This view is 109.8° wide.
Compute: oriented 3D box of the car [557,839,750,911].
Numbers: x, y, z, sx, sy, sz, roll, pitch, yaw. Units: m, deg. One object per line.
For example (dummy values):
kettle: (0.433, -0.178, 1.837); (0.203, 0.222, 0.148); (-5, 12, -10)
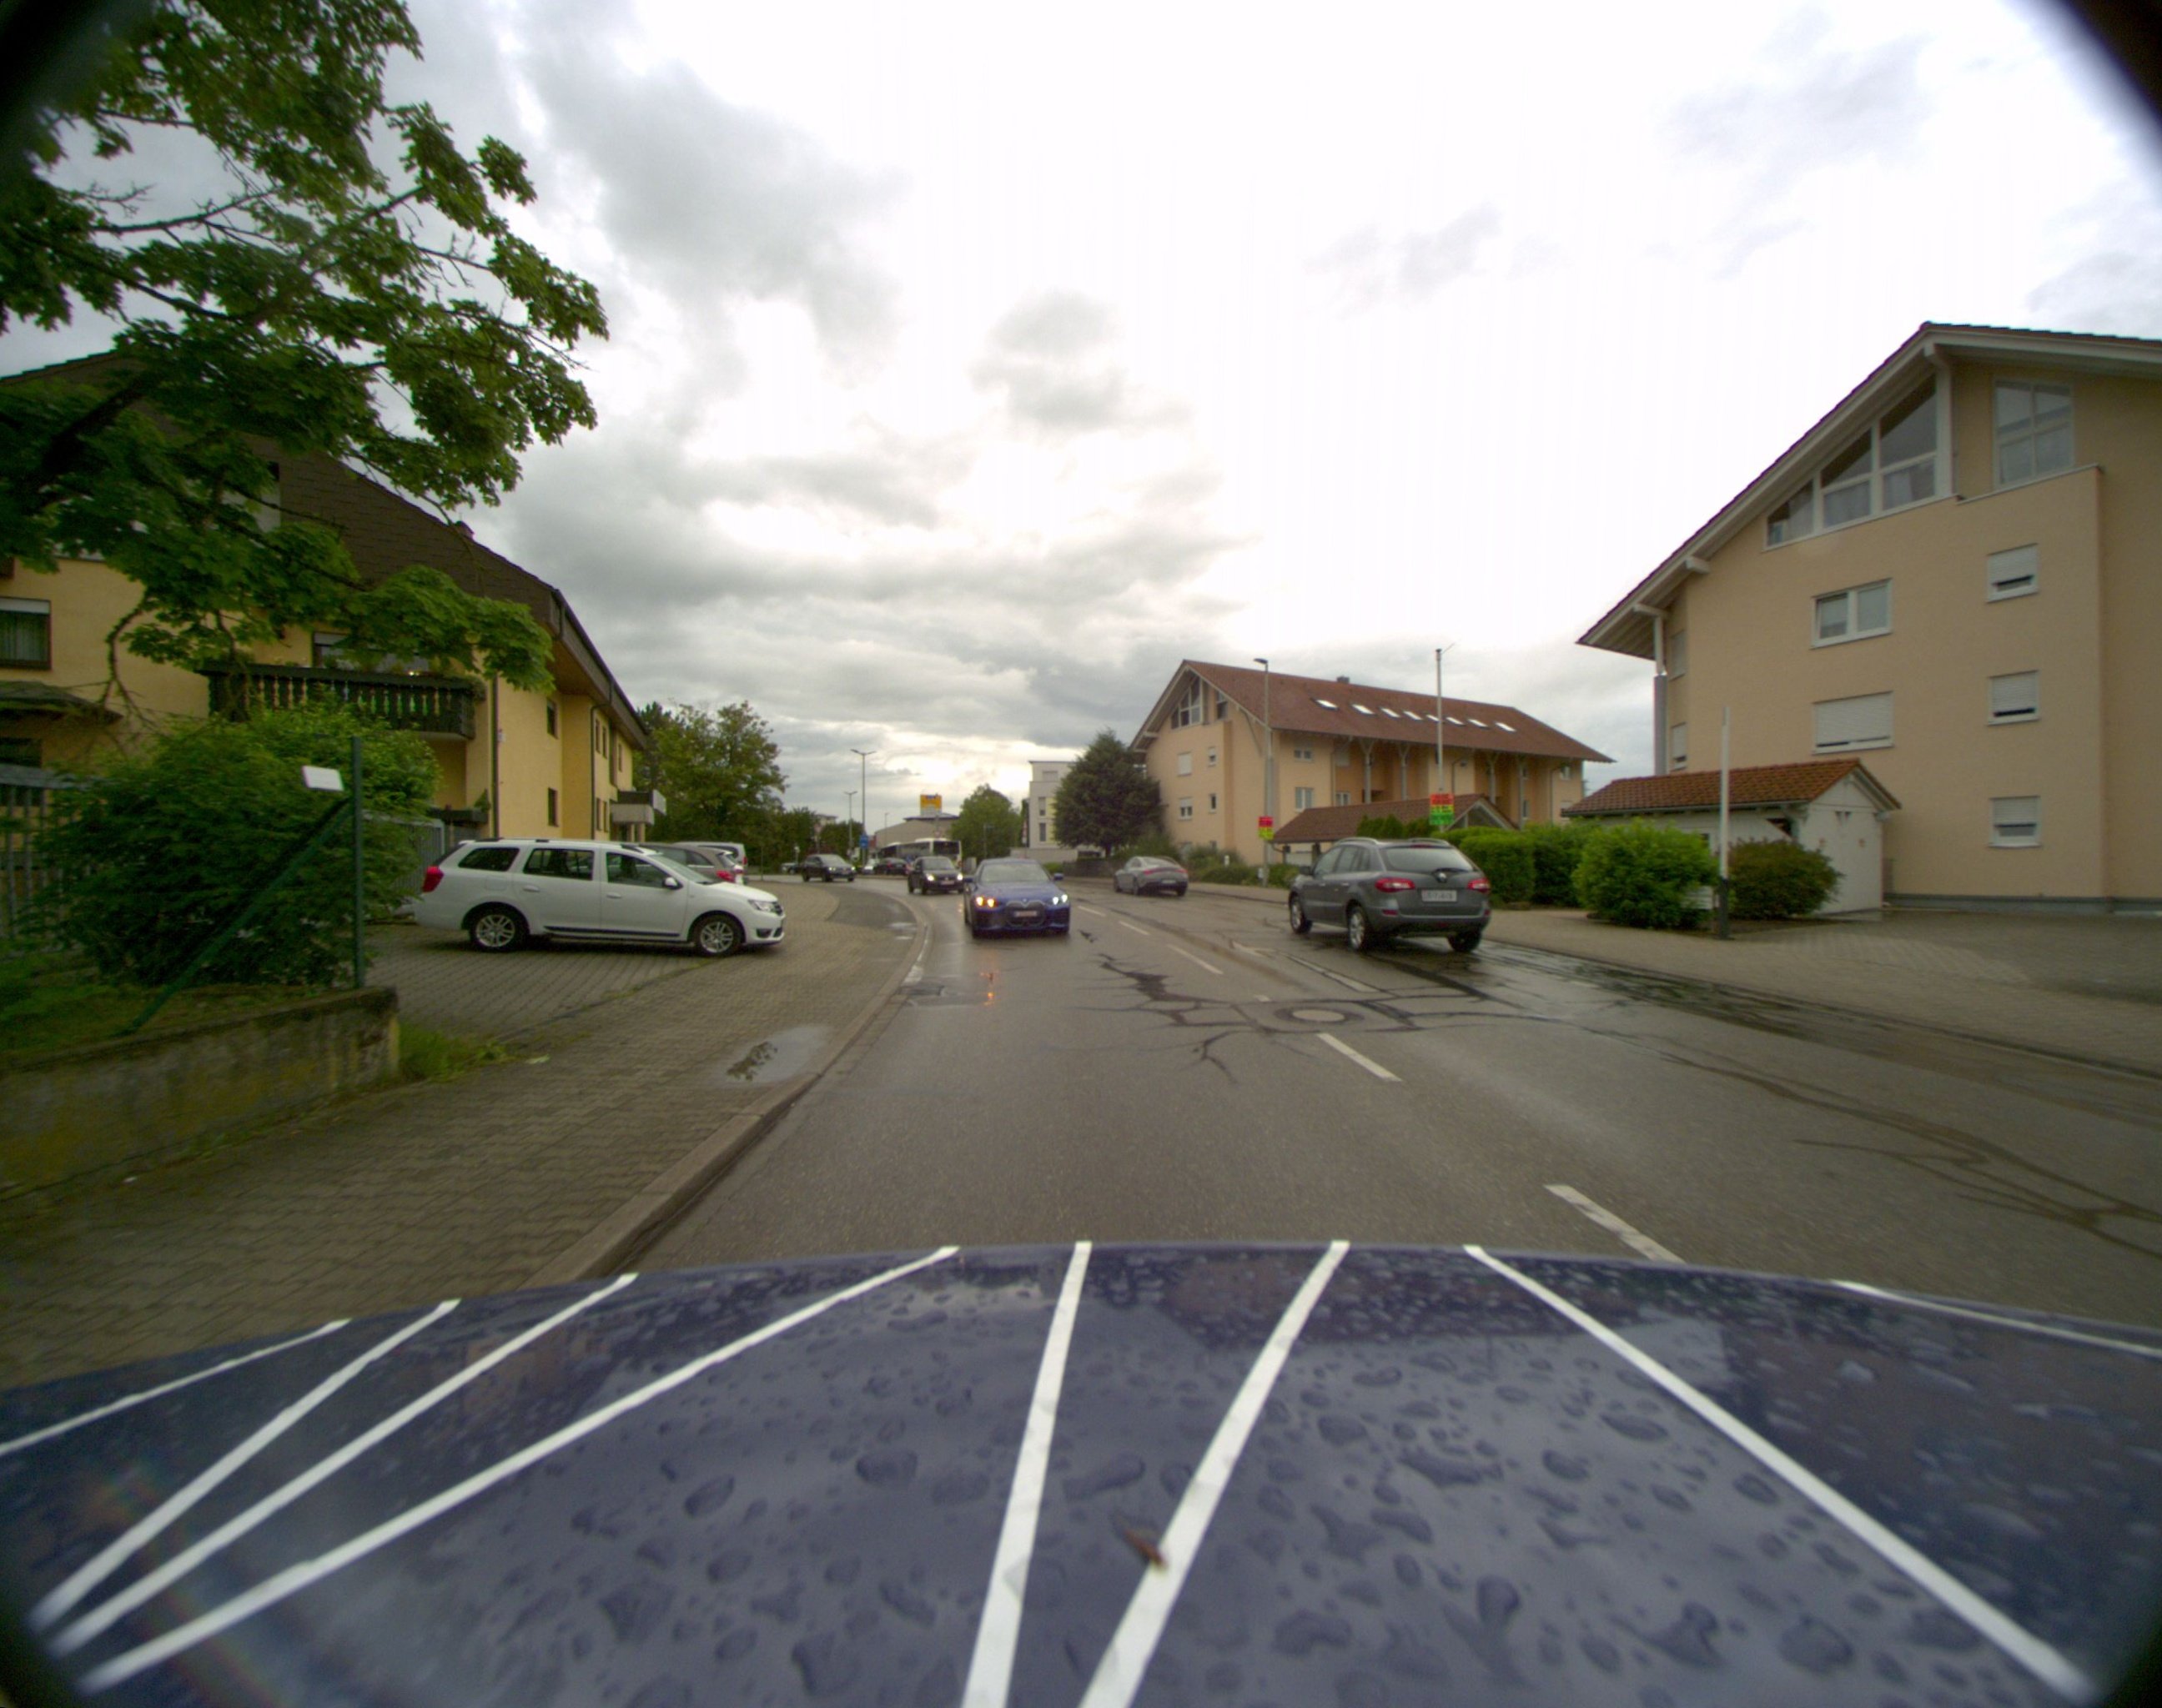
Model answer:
car: (-10.757, 0.549, 19.438); (4.064, 1.587, 1.891); (4, -1, -26)

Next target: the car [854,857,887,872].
car: (-24.570, 1.225, 88.786); (1.996, 1.630, 4.004); (0, 0, 13)

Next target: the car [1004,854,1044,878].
car: (-3.576, 0.743, 47.193); (1.594, 1.413, 3.689); (-2, 0, -19)

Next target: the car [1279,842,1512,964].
car: (4.826, 0.684, 12.439); (1.907, 1.647, 4.266); (0, -1, -2)

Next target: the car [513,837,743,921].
car: (-9.675, 0.560, 16.658); (4.063, 1.587, 1.901); (4, -1, -24)

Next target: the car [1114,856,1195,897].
car: (2.643, 0.801, 28.454); (1.908, 1.382, 4.485); (-1, -1, -10)

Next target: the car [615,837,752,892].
car: (-14.676, 0.405, 28.270); (4.315, 1.770, 1.900); (4, -1, -26)

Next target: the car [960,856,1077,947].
car: (-1.439, 0.842, 15.685); (1.915, 1.487, 4.343); (-1, 1, -11)

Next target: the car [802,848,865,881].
car: (-15.044, 0.607, 46.107); (1.972, 1.740, 4.294); (-3, 4, -42)

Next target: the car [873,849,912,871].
car: (-14.468, 0.424, 58.076); (1.869, 1.509, 4.281); (2, 0, -28)

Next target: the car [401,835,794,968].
car: (-6.520, 0.681, 10.860); (4.359, 1.587, 1.763); (3, -1, -18)

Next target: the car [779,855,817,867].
car: (-34.913, 0.825, 93.802); (3.992, 1.455, 2.002); (0, 0, 16)

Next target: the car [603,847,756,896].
car: (-13.445, 0.592, 25.689); (4.382, 1.415, 1.692); (4, -1, -26)

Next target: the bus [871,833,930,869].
bus: (-16.578, -0.219, 69.083); (2.559, 2.982, 9.181); (1, -1, -31)

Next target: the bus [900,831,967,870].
bus: (-12.061, -0.238, 61.537); (2.598, 2.982, 8.385); (1, -1, -31)

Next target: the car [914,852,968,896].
car: (-5.829, 0.749, 31.386); (1.748, 1.511, 3.992); (-2, 3, -16)
